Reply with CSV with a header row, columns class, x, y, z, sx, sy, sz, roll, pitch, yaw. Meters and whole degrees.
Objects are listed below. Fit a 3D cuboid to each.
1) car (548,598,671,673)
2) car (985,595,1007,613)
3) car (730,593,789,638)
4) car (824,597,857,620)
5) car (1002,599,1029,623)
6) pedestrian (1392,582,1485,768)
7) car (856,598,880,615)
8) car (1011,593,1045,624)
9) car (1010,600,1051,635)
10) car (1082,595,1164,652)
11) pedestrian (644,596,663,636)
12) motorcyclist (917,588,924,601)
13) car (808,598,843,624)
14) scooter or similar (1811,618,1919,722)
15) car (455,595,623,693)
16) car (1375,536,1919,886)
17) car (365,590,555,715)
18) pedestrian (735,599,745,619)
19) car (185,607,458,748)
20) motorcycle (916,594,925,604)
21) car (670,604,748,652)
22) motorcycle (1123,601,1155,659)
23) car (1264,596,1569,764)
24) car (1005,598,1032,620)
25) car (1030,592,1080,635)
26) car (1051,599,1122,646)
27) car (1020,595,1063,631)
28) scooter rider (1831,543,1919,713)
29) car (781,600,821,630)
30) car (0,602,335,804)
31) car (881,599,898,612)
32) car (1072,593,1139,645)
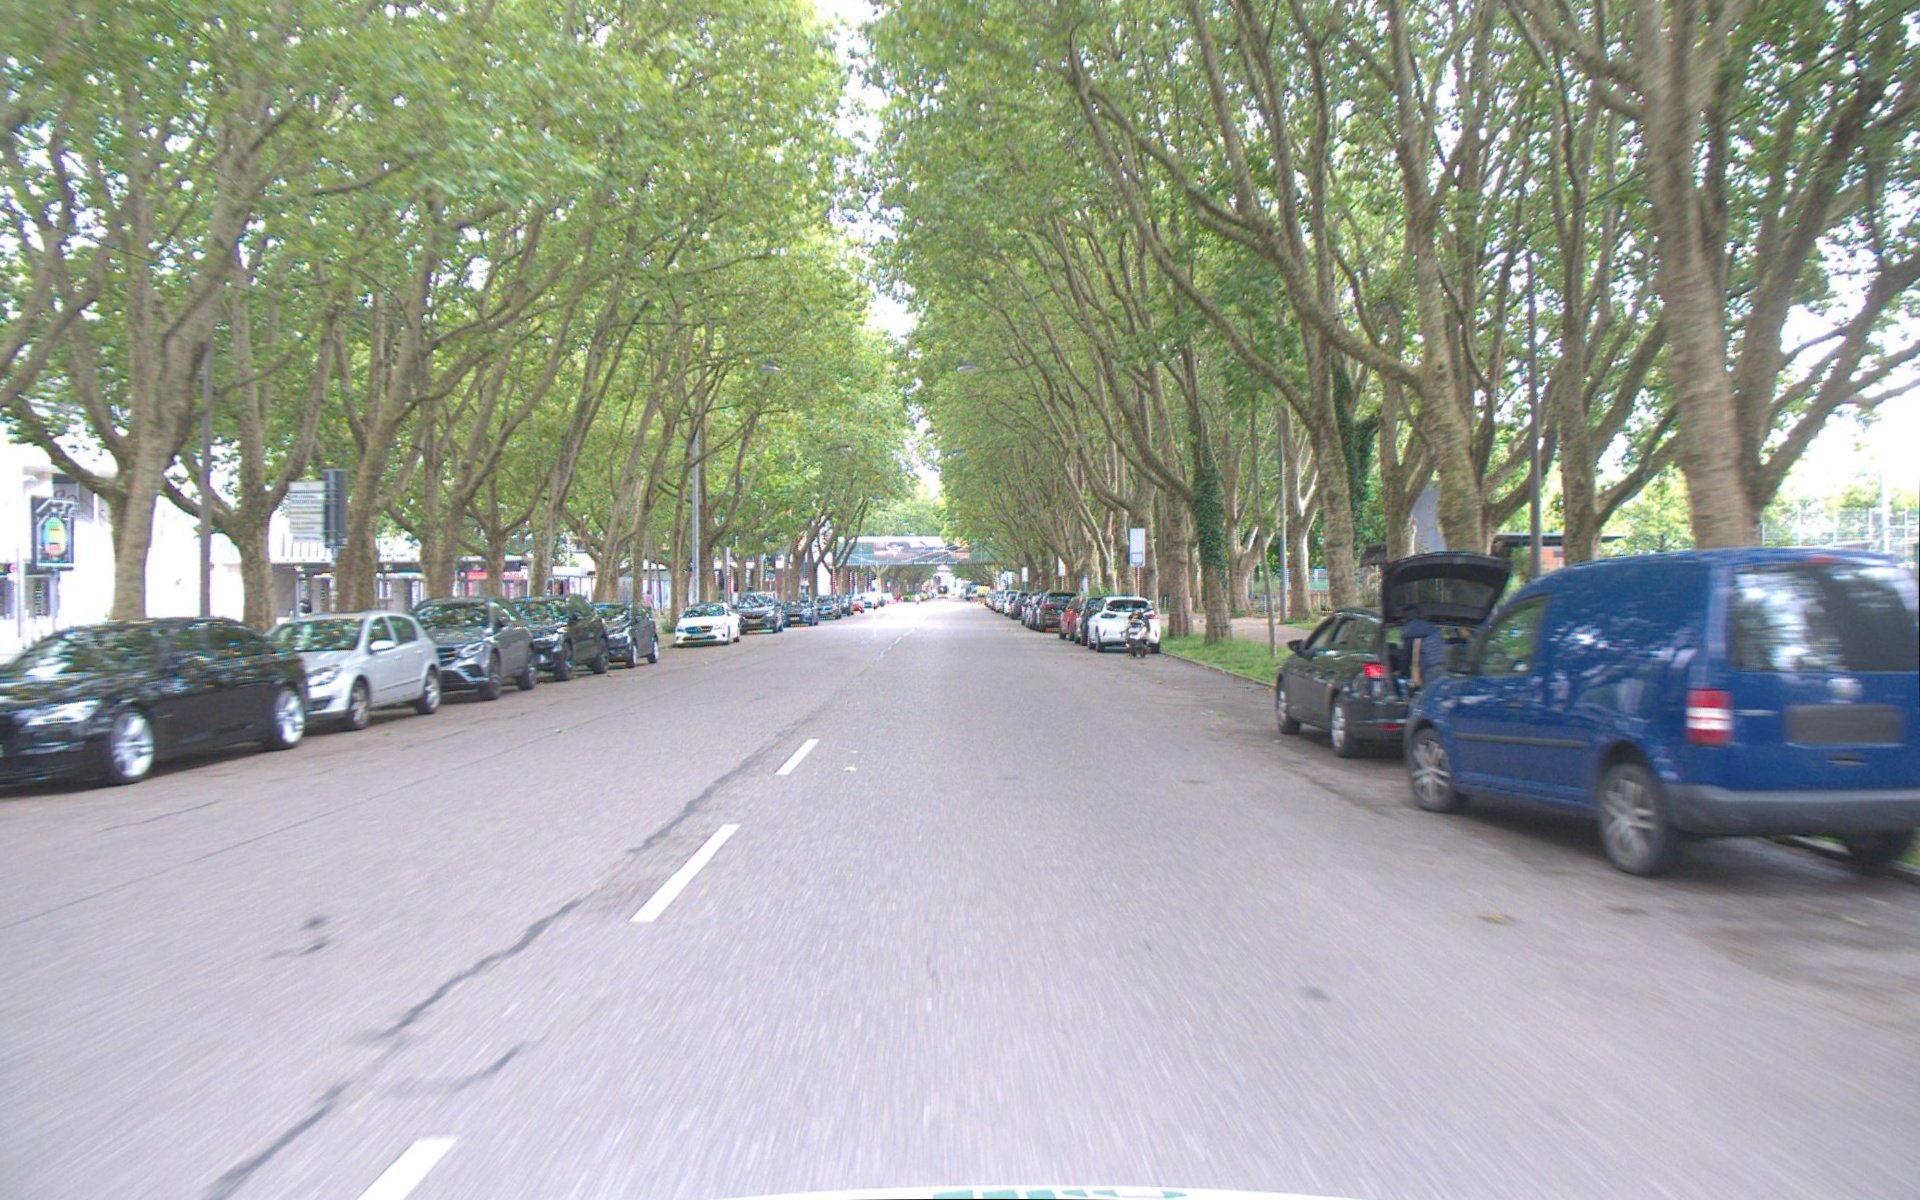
class,x,y,z,sx,sy,sz,roll,pitch,yaw
car,-8.078,0.782,38.496,1.796,1.520,4.442,-4,0,0
car,3.159,0.332,146.027,1.766,1.583,3.999,-1,0,-1
car,-8.433,0.634,69.841,1.909,1.781,4.637,-2,0,-1
car,-8.495,0.601,117.641,1.789,1.491,4.628,-2,0,2
car,4.096,0.820,123.285,1.864,1.769,4.506,0,0,0
pedestrian,4.374,0.669,15.150,0.620,1.655,0.742,-1,0,-1
car,-8.843,0.620,159.527,2.031,1.590,4.756,-1,0,0
car,3.924,0.474,96.190,1.673,1.728,4.629,1,0,-2
car,3.480,0.856,82.100,1.741,1.702,4.636,0,0,-1
car,4.403,0.616,45.051,1.700,1.463,4.121,-1,0,-2
pedestrian,-14.172,0.738,76.547,0.564,1.801,0.768,-1,0,14
motorcyclist,-4.659,-0.618,195.553,0.853,1.506,1.264,0,0,-4
car,-8.570,0.693,105.423,1.839,1.553,4.151,-2,0,0
scooter or similar,10.258,0.758,18.506,0.666,1.056,1.467,-3,0,0
car,-8.259,0.797,32.939,1.898,1.671,4.928,-4,0,1
car,4.496,0.575,10.921,1.808,1.814,4.438,2,0,-9
car,-8.047,0.789,27.078,1.832,1.747,4.645,-4,0,-3
pedestrian,-17.984,0.714,135.157,0.579,1.648,0.792,0,0,9
car,-8.054,0.905,21.322,1.796,1.481,4.230,-4,0,0
motorcycle,-4.668,-0.105,195.519,0.856,1.098,3.050,0,0,-4
car,-8.478,0.903,56.231,1.865,1.427,4.751,-4,0,0
motorcycle,4.323,0.709,39.845,0.697,1.355,1.994,0,0,8
car,4.583,0.729,17.324,1.953,1.504,4.371,1,0,0
car,3.857,0.590,109.374,1.672,1.452,3.889,1,0,0
car,3.826,0.546,67.134,1.719,1.648,4.439,1,0,0
car,4.204,0.736,55.605,1.682,1.464,4.625,1,0,-4
car,3.569,0.565,73.111,1.634,1.535,4.353,1,0,0
scooter rider,10.229,0.308,18.436,0.662,1.831,0.587,-3,0,0
car,-8.407,0.765,87.617,1.689,1.512,4.574,-1,0,0
car,-8.100,0.864,15.980,2.041,1.556,5.146,-2,1,1
car,-9.084,0.659,212.566,1.955,1.629,3.996,0,0,-5
car,4.421,0.562,50.747,1.694,1.496,4.080,2,0,1
